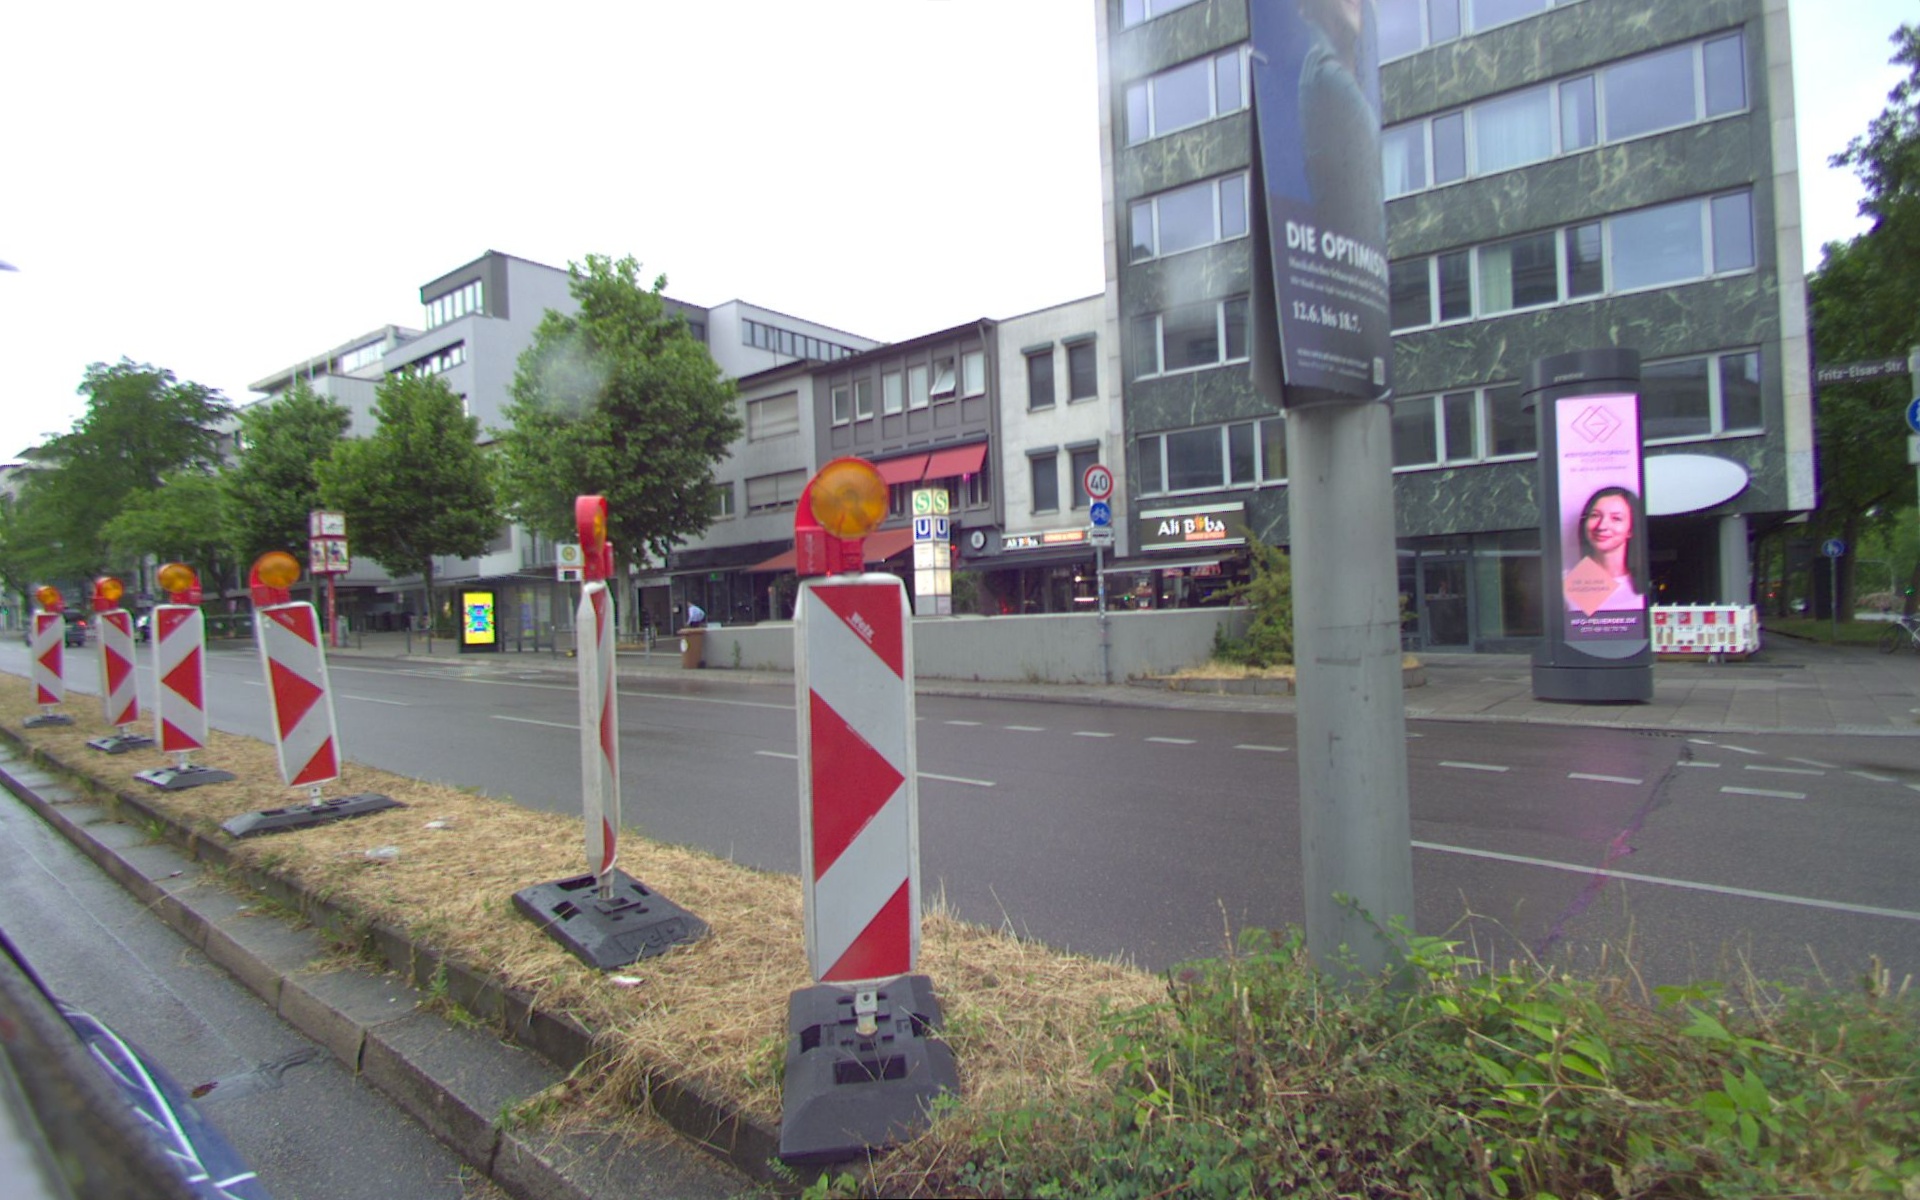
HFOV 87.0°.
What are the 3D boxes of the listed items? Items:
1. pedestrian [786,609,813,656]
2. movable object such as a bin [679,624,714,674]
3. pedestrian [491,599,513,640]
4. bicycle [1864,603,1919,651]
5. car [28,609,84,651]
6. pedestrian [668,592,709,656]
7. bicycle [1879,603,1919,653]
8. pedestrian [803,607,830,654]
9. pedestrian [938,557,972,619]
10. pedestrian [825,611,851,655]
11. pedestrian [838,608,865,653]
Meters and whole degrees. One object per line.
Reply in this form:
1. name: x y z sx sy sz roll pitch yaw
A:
1. pedestrian: -5.445 1.099 34.312 0.611 1.540 0.660 -2 -1 44
2. movable object such as a bin: -6.106 1.128 23.453 0.660 1.109 0.501 -1 0 39
3. pedestrian: -22.569 0.949 49.884 0.764 2.029 0.768 -1 0 -41
4. bicycle: 21.258 0.590 22.391 1.780 1.060 0.579 -1 -1 37
5. car: -46.490 1.500 52.000 1.970 1.942 4.970 1 0 -44
6. pedestrian: -8.844 0.767 32.963 0.943 2.029 0.910 -1 0 41
7. bicycle: 20.763 0.596 21.483 1.780 1.060 0.579 -1 -1 37
8. pedestrian: -4.786 1.005 33.724 0.611 1.540 0.660 -2 -1 44
9. pedestrian: -0.155 -0.342 30.506 0.791 1.837 0.603 -1 0 36
10. pedestrian: -4.283 1.160 35.612 0.611 1.540 0.660 -2 -1 44
11. pedestrian: -3.759 1.039 35.019 0.611 1.540 0.660 -2 -1 44
